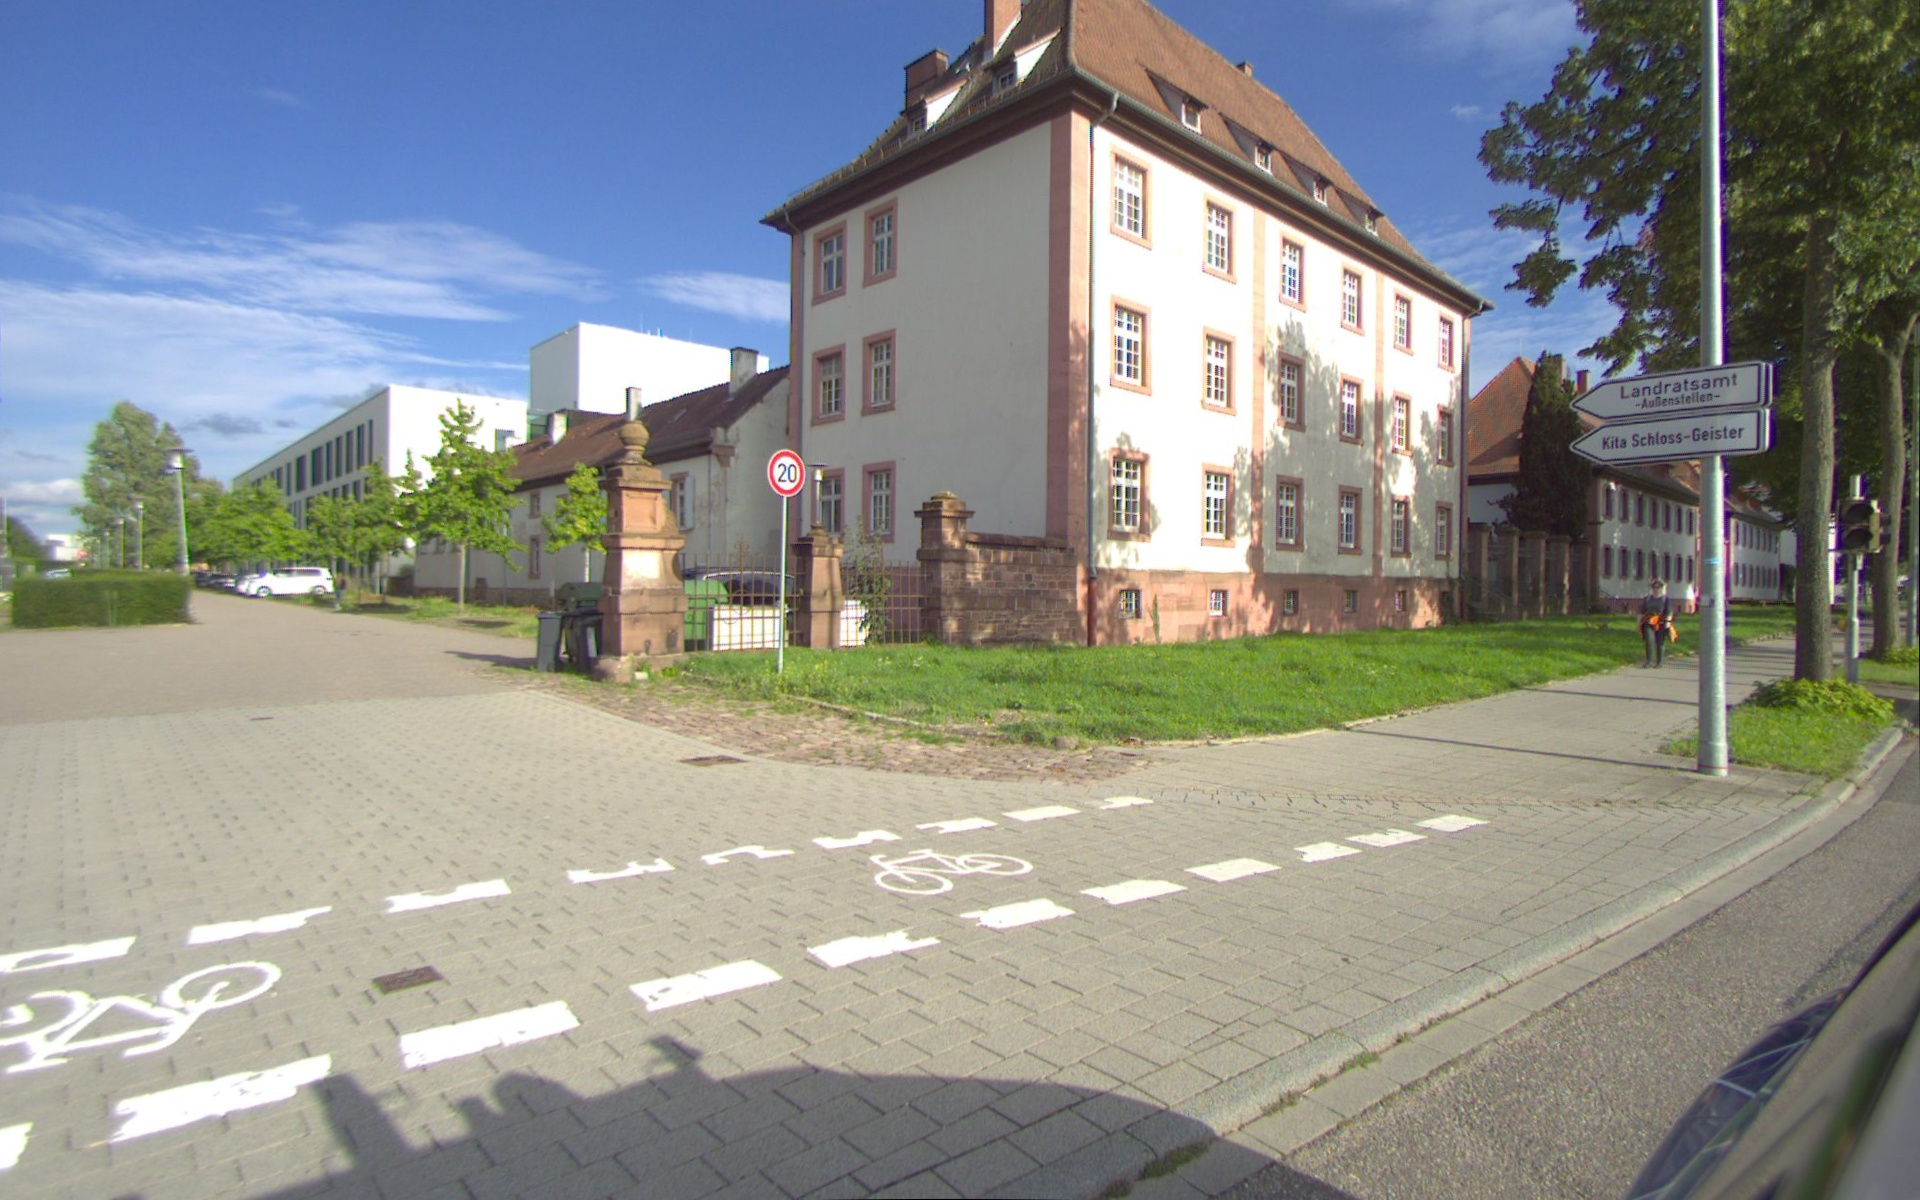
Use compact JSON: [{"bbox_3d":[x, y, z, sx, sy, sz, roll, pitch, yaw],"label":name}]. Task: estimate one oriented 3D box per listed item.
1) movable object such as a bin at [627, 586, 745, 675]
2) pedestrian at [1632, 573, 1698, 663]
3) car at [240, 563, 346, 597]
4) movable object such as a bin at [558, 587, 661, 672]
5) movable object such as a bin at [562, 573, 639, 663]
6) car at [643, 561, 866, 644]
[{"bbox_3d":[-4.847,0.496,17.896,1.413,1.478,1.520,0,1,43],"label":"movable object such as a bin"},{"bbox_3d":[13.114,0.309,18.836,0.756,1.609,0.815,-1,3,-44],"label":"pedestrian"},{"bbox_3d":[-42.245,-1.262,64.170,5.391,2.039,1.997,-1,0,-41],"label":"car"},{"bbox_3d":[-5.404,0.425,15.600,1.190,1.246,1.076,0,1,44],"label":"movable object such as a bin"},{"bbox_3d":[-5.932,0.278,16.695,0.830,1.441,0.928,0,0,43],"label":"movable object such as a bin"},{"bbox_3d":[-4.467,0.015,22.338,4.426,1.628,1.998,0,2,-41],"label":"car"}]
